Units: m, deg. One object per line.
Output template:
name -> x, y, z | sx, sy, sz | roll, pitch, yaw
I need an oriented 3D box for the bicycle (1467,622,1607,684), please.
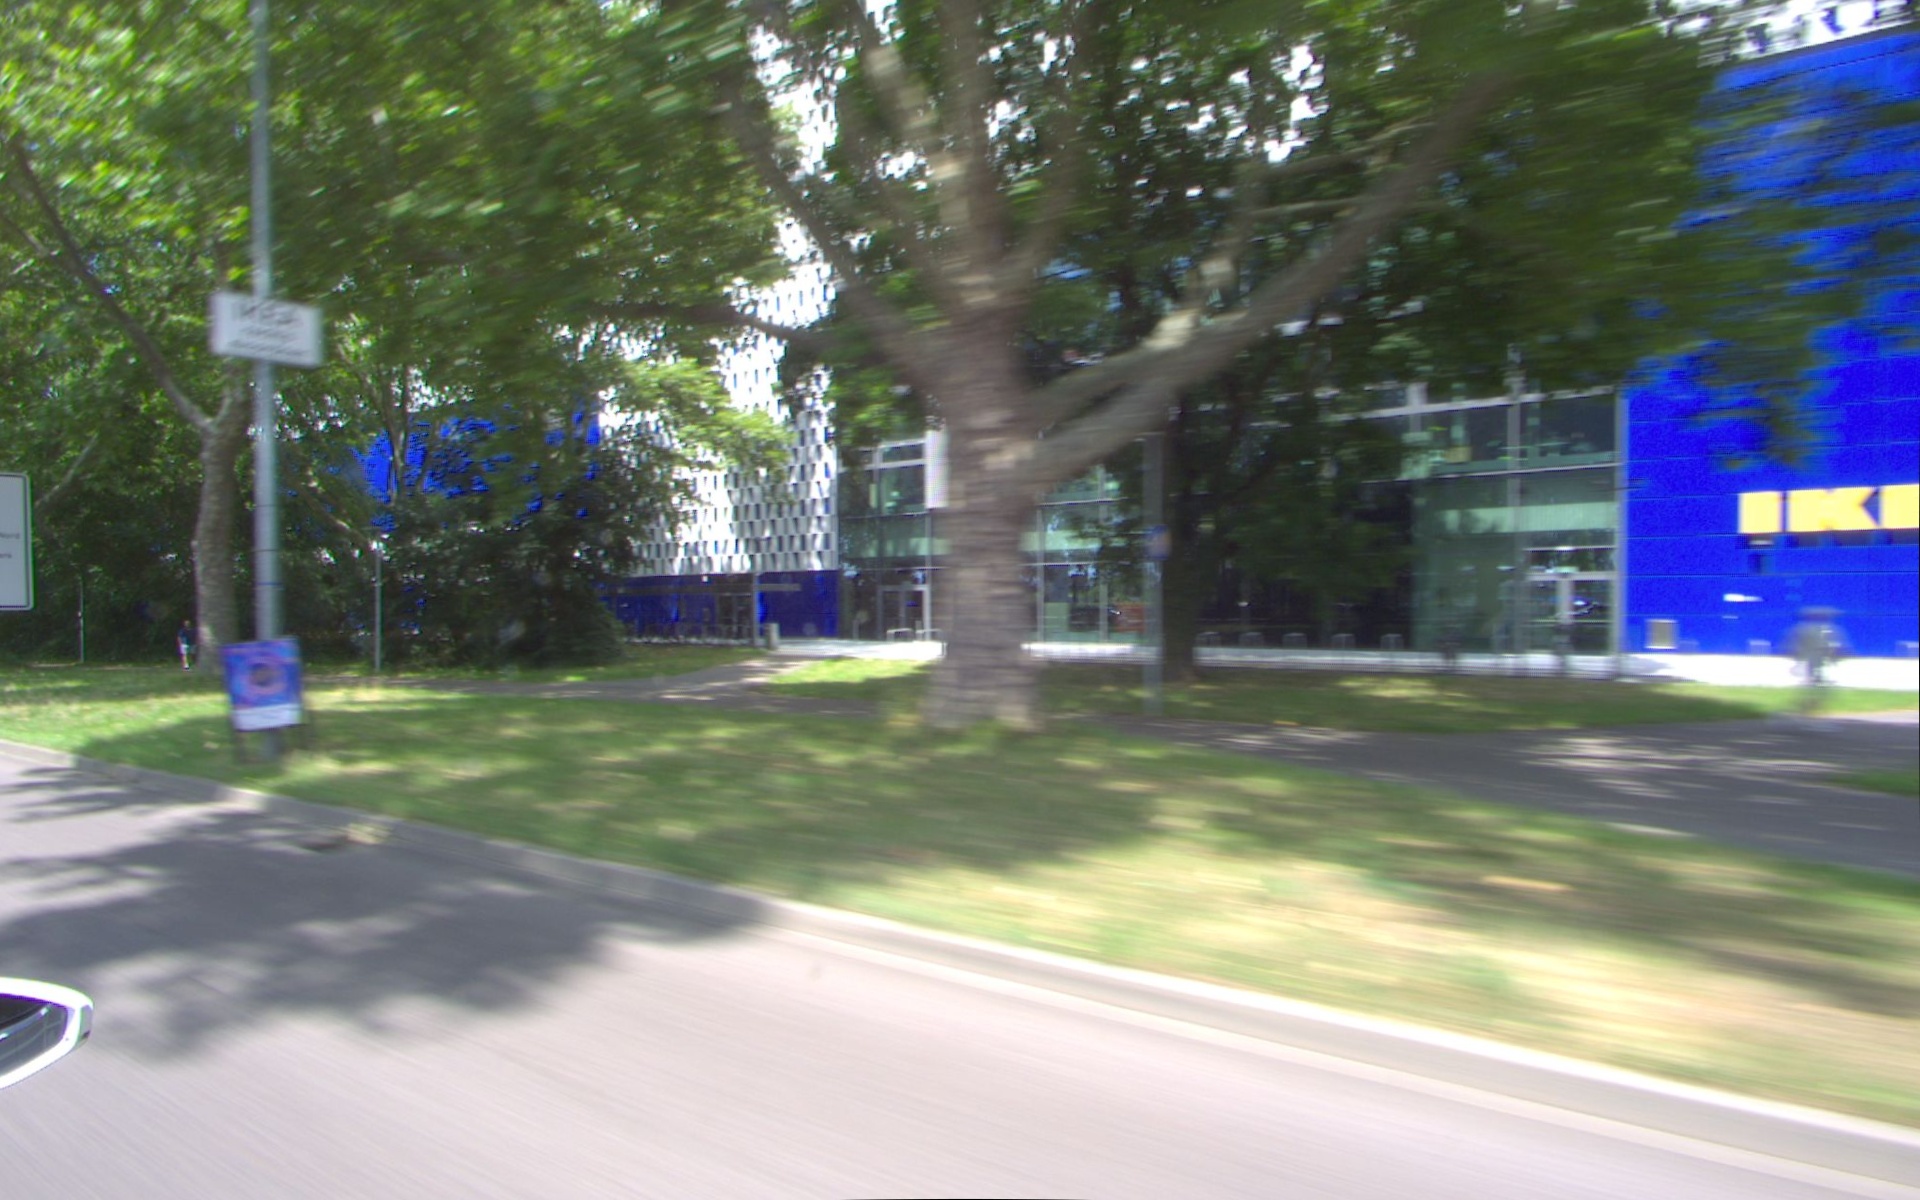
bicycle -> 12.878, 1.137, 22.290 | 3.783, 1.191, 0.981 | -1, 1, -31

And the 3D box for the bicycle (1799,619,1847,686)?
bicycle -> 17.305, 1.006, 20.056 | 0.686, 1.191, 2.505 | 0, 1, 42

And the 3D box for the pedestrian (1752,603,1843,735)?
pedestrian -> 11.414, 0.915, 13.674 | 0.879, 1.718, 0.773 | 0, 0, 35

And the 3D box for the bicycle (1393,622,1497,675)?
bicycle -> 11.572, 1.120, 23.846 | 2.739, 1.136, 0.891 | -1, 1, -31

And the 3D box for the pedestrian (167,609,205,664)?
pedestrian -> -29.044, 1.380, 37.586 | 0.943, 2.039, 0.834 | 0, -2, 33
